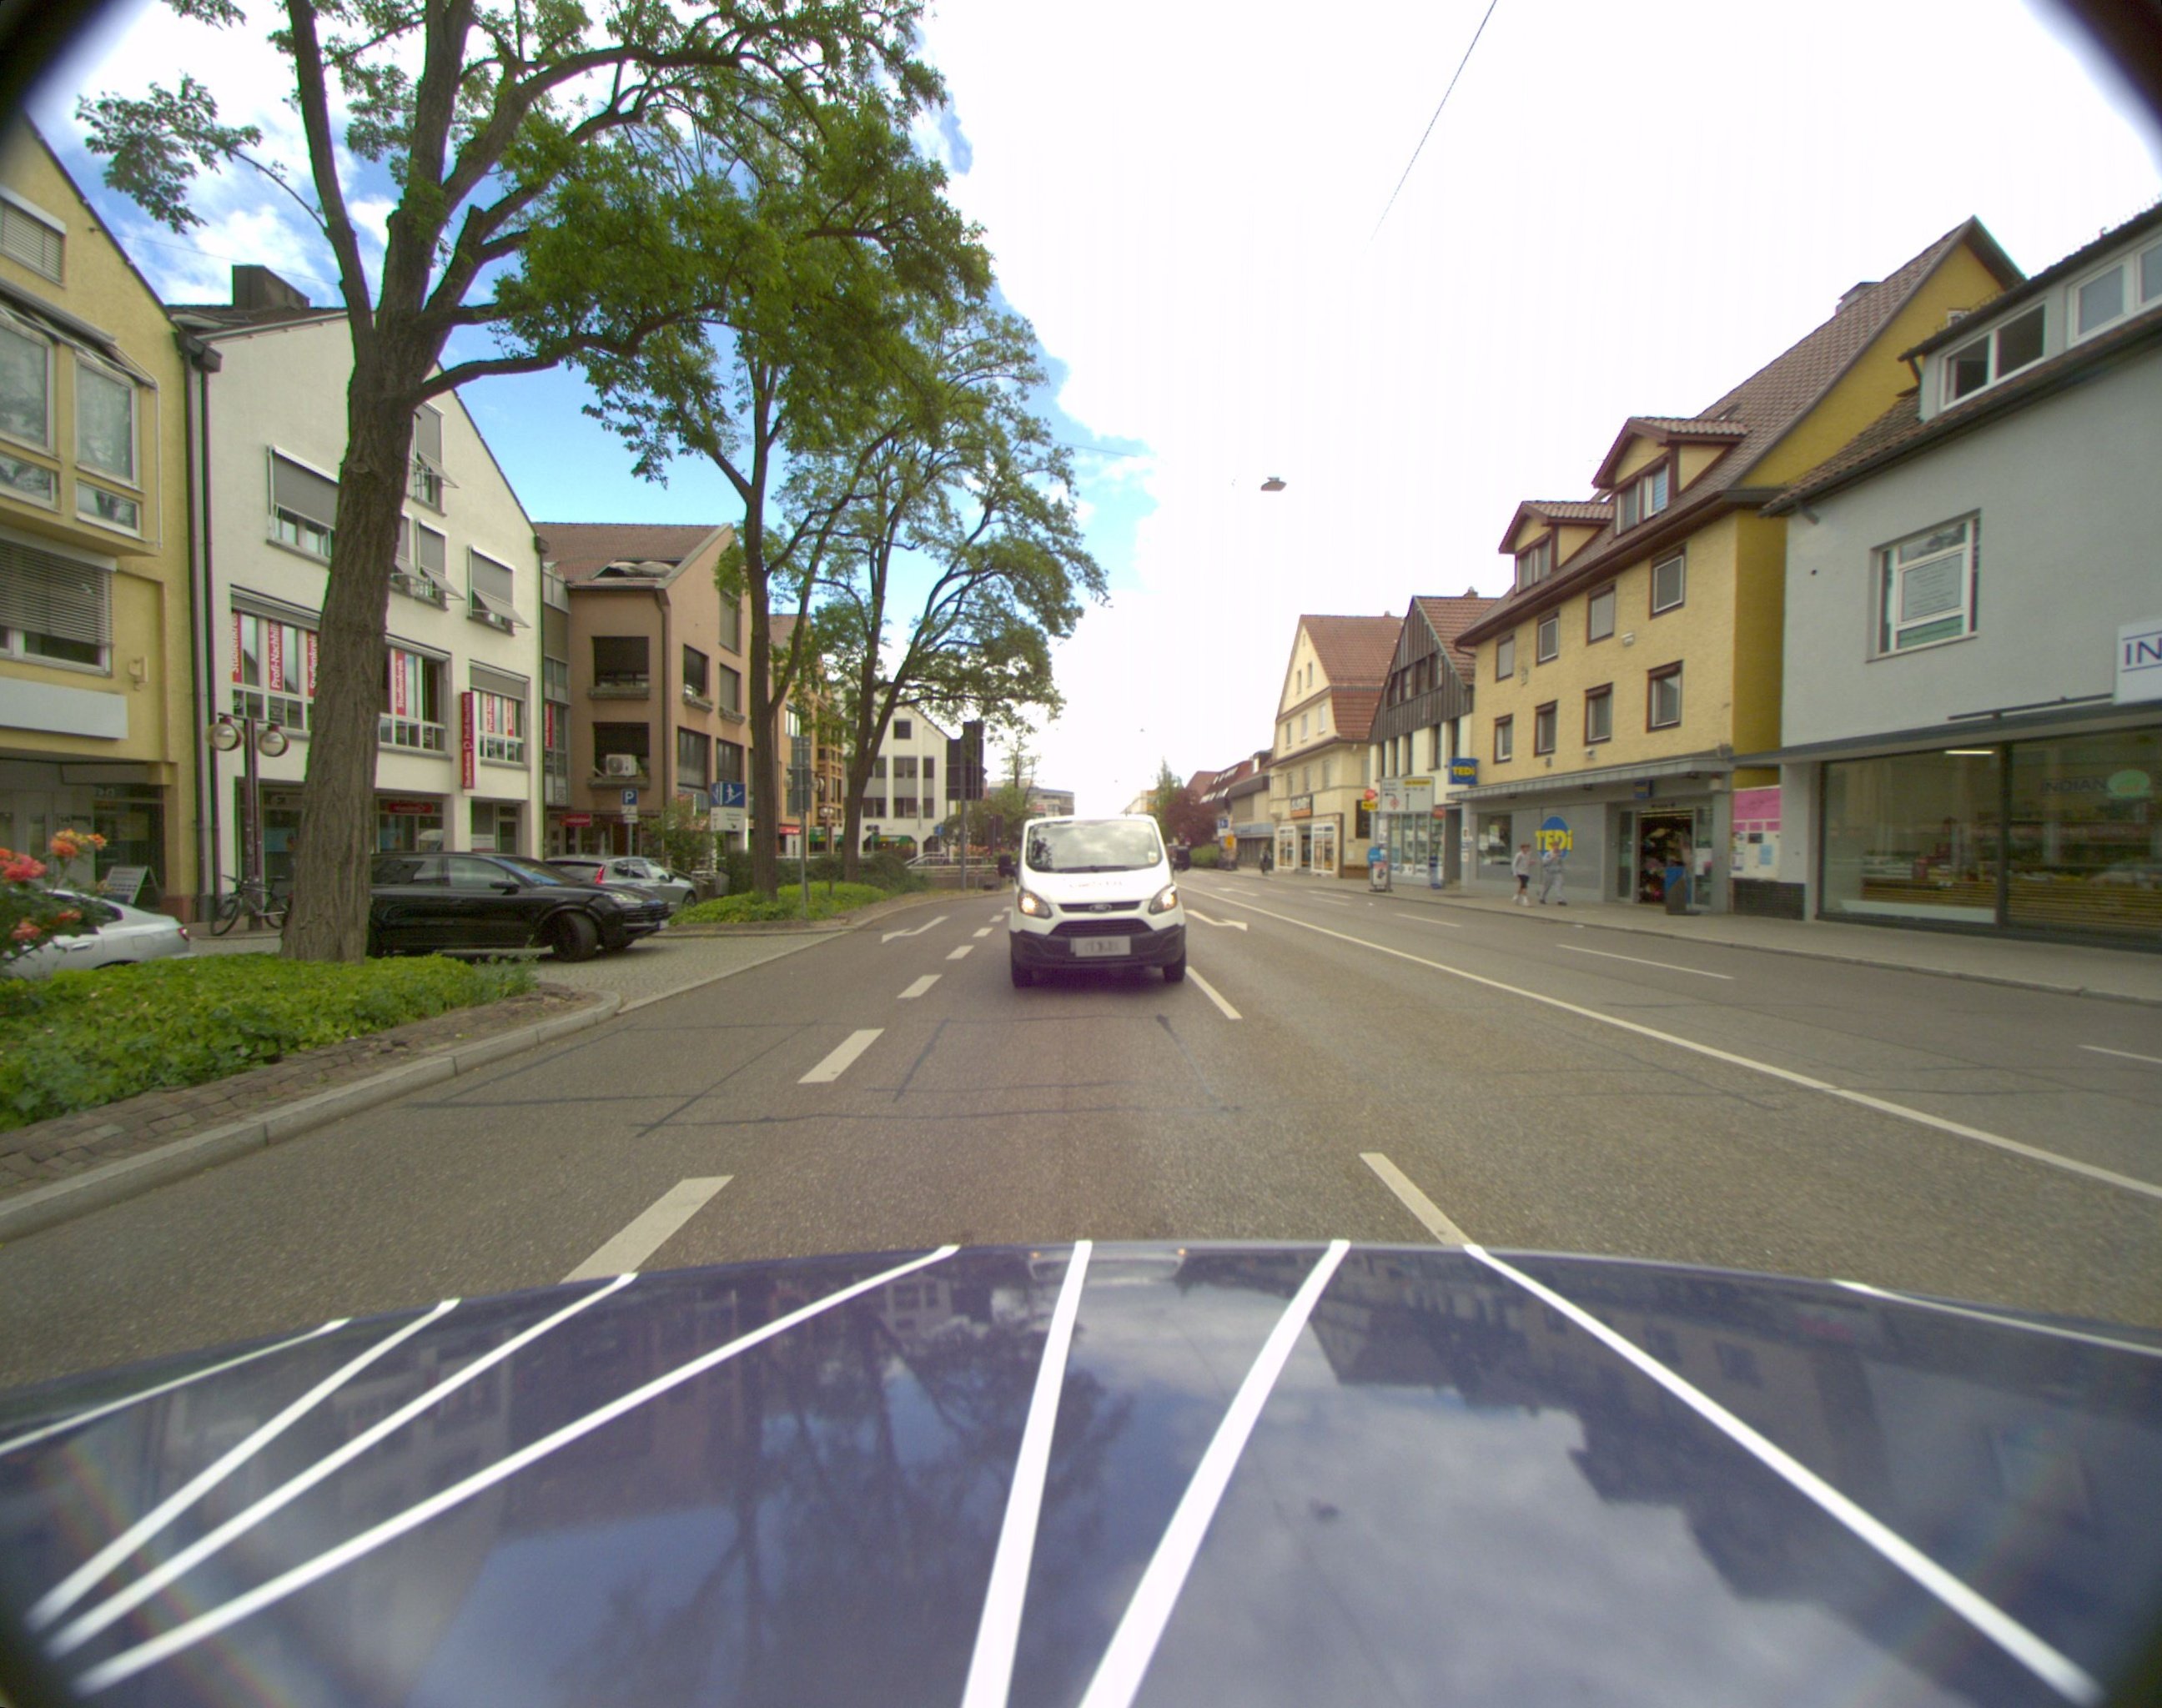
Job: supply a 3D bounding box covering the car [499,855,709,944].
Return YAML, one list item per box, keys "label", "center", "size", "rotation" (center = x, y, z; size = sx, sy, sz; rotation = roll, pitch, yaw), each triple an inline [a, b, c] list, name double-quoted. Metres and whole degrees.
- label: "car"
  center: [-10.510, 0.899, 17.266]
  size: [1.999, 1.645, 4.751]
  rotation: [1, 1, -3]

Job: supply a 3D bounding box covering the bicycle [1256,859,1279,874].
- label: "bicycle"
  center: [11.188, 0.750, 45.703]
  size: [0.773, 0.818, 2.239]
  rotation: [0, 1, -1]

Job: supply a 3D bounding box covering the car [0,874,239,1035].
- label: "car"
  center: [-10.397, 0.933, 6.218]
  size: [1.843, 1.302, 4.752]
  rotation: [1, 1, -2]

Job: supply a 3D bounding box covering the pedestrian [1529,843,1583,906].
- label: "pedestrian"
  center: [12.176, 0.510, 19.496]
  size: [0.812, 1.574, 0.920]
  rotation: [0, 1, 1]

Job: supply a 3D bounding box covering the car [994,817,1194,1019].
- label: "car"
  center: [0.130, 0.623, 10.540]
  size: [1.940, 1.968, 5.779]
  rotation: [-2, 1, 0]

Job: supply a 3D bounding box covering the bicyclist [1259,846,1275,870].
- label: "bicyclist"
  center: [11.198, 0.218, 45.697]
  size: [0.773, 1.415, 0.752]
  rotation: [0, 1, -1]

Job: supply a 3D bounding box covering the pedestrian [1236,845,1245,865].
- label: "pedestrian"
  center: [15.135, 0.114, 72.000]
  size: [0.673, 1.891, 0.678]
  rotation: [0, 1, 0]

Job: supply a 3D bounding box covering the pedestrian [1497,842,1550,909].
- label: "pedestrian"
  center: [11.315, 0.533, 19.454]
  size: [0.812, 1.651, 0.920]
  rotation: [0, 1, 1]

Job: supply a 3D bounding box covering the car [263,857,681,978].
- label: "car"
  center: [-9.244, 0.920, 12.064]
  size: [4.756, 1.669, 1.997]
  rotation: [1, 0, -14]

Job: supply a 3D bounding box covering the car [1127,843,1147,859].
- label: "car"
  center: [6.634, -0.394, 90.287]
  size: [1.928, 1.766, 4.769]
  rotation: [1, 1, -1]
